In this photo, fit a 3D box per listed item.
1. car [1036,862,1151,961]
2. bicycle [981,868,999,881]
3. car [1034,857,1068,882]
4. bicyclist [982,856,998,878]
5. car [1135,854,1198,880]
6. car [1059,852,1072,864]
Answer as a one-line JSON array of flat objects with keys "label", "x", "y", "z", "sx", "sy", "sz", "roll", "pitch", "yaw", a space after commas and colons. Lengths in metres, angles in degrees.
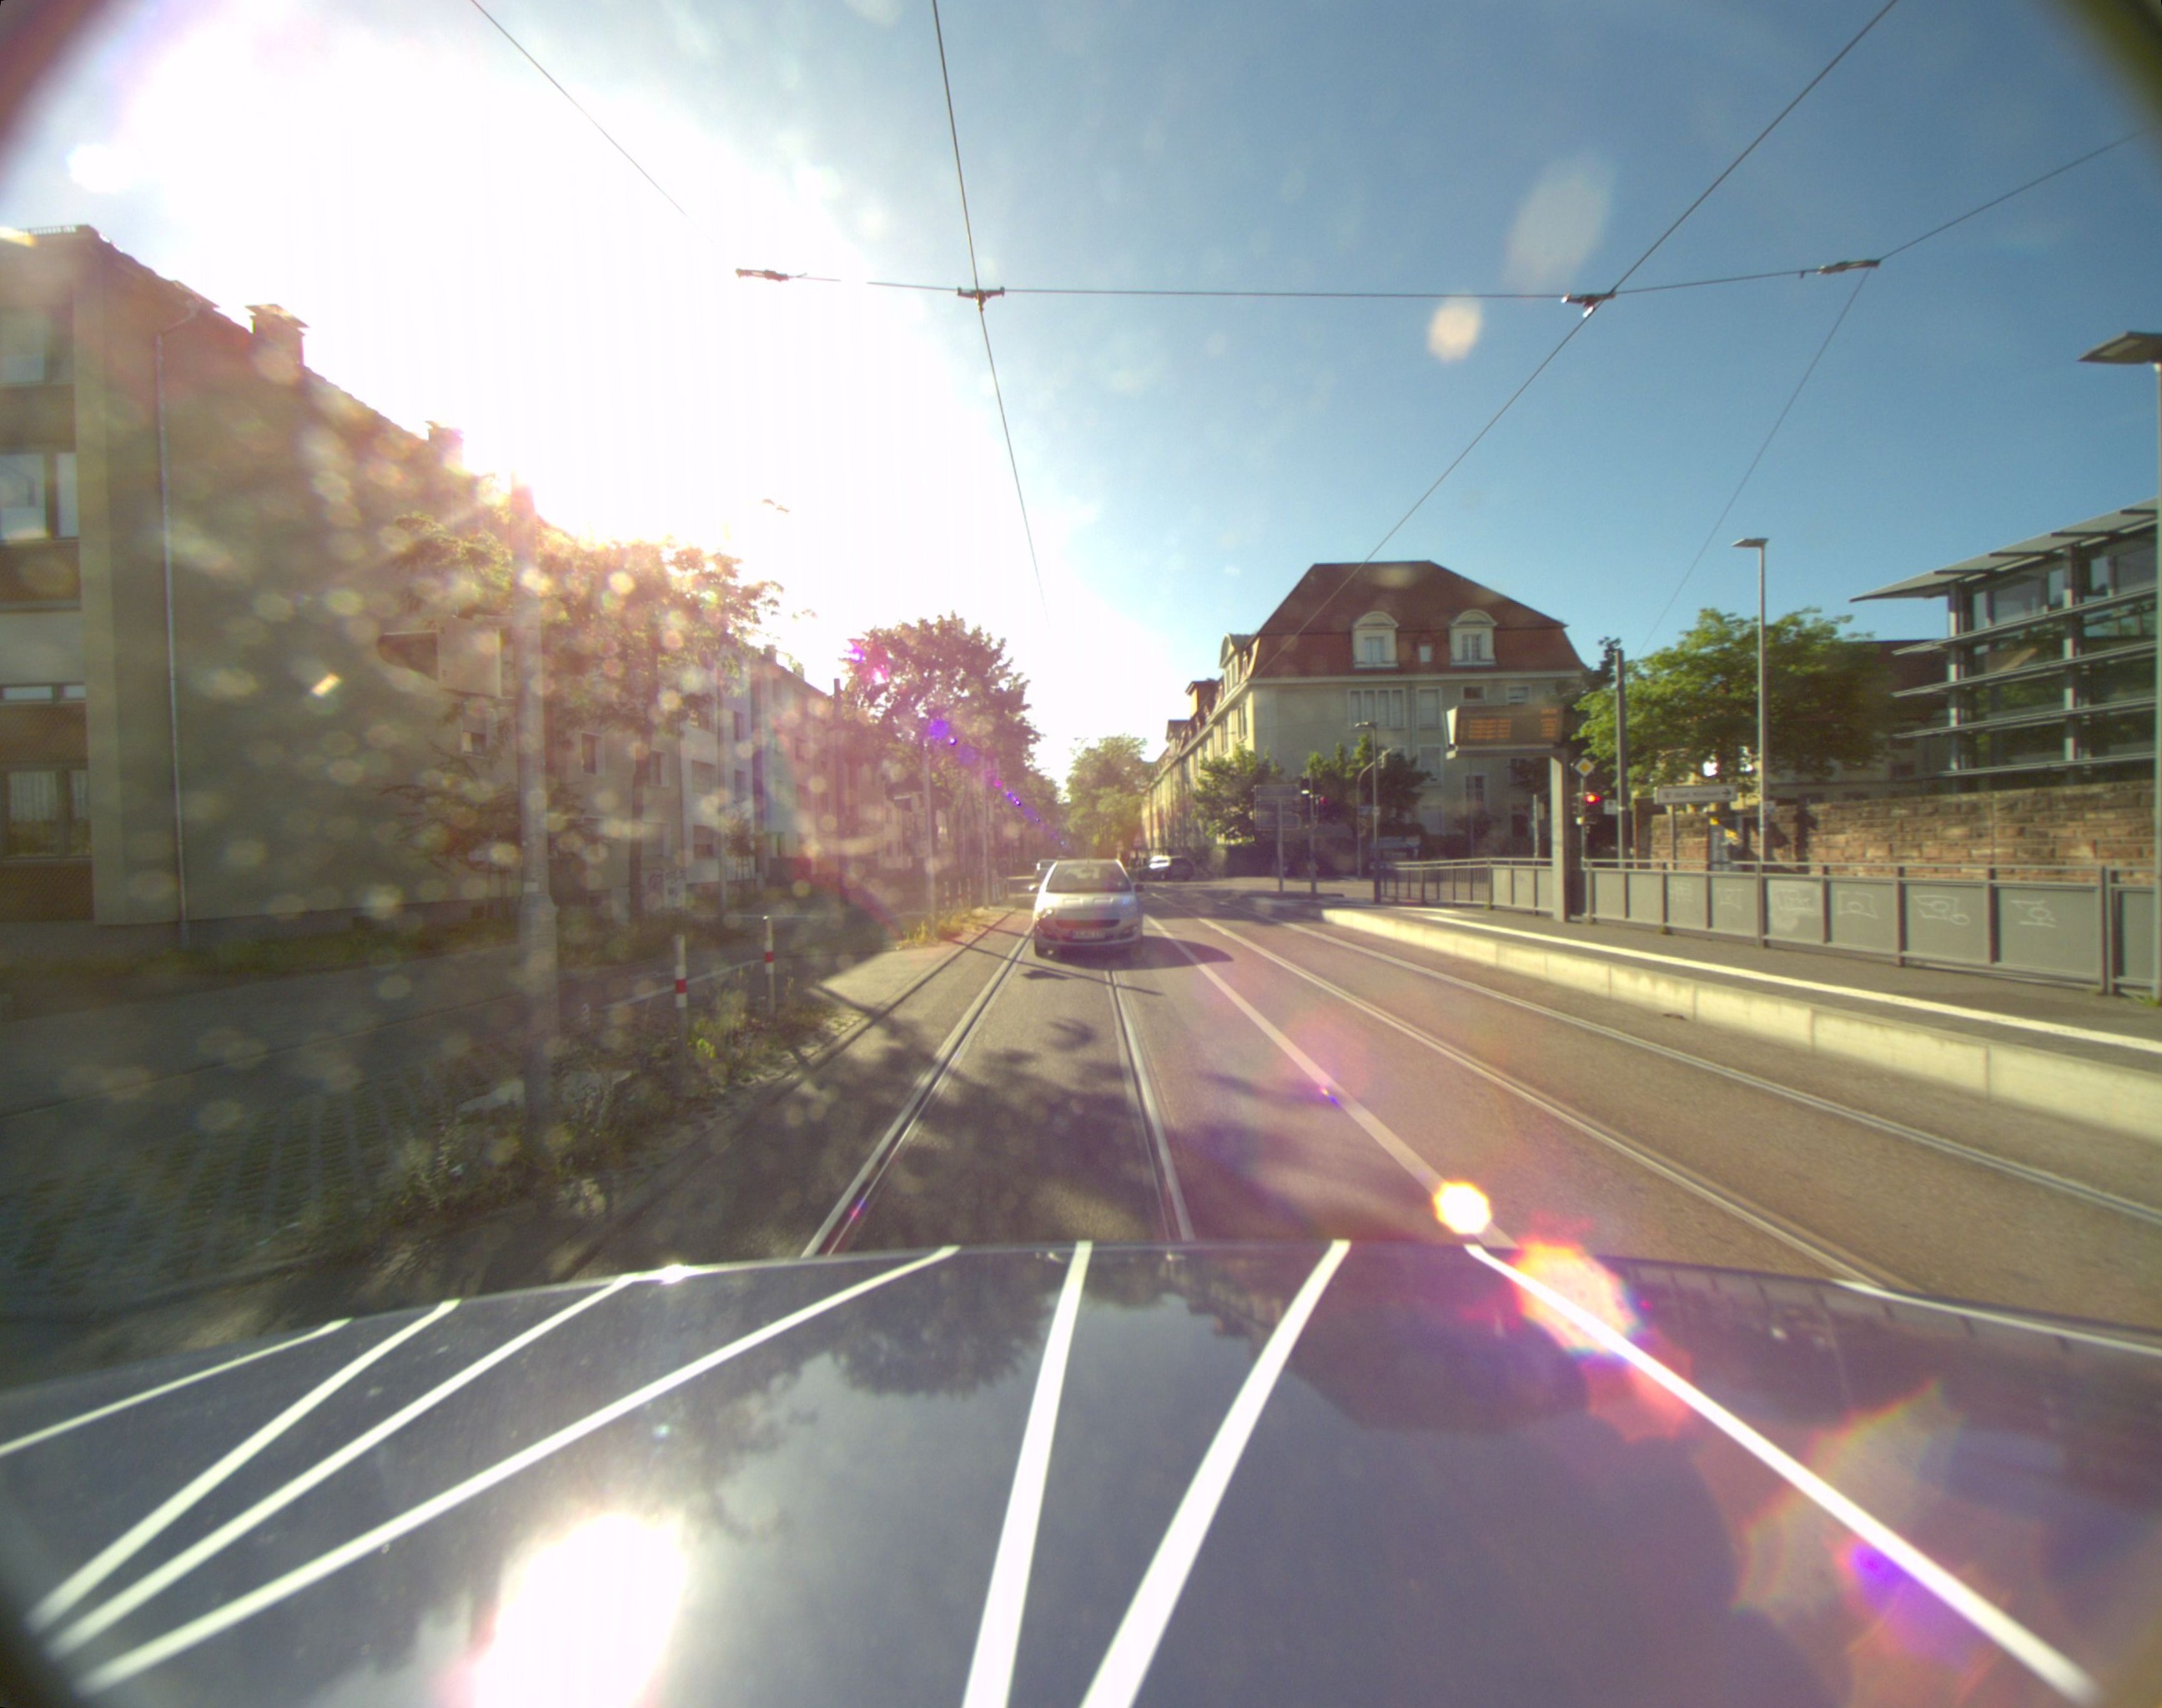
[{"label": "car", "x": 0.155, "y": 0.903, "z": 13.589, "sx": 1.742, "sy": 1.450, "sz": 3.693, "roll": -1, "pitch": 0, "yaw": -1}, {"label": "bicycle", "x": -6.420, "y": 1.433, "z": 53.833, "sx": 0.826, "sy": 0.880, "sz": 2.199, "roll": -1, "pitch": 0, "yaw": 4}, {"label": "car", "x": -1.959, "y": 0.960, "z": 48.568, "sx": 1.743, "sy": 1.450, "sz": 3.691, "roll": -1, "pitch": 0, "yaw": -8}, {"label": "bicyclist", "x": -6.434, "y": 0.906, "z": 53.842, "sx": 0.818, "sy": 1.491, "sz": 1.258, "roll": -1, "pitch": 0, "yaw": 4}, {"label": "car", "x": 5.010, "y": 0.754, "z": 45.182, "sx": 1.745, "sy": 1.450, "sz": 4.397, "roll": -2, "pitch": 0, "yaw": -23}, {"label": "car", "x": -2.488, "y": 0.666, "z": 119.684, "sx": 1.825, "sy": 1.751, "sz": 3.692, "roll": -3, "pitch": 0, "yaw": -4}]
